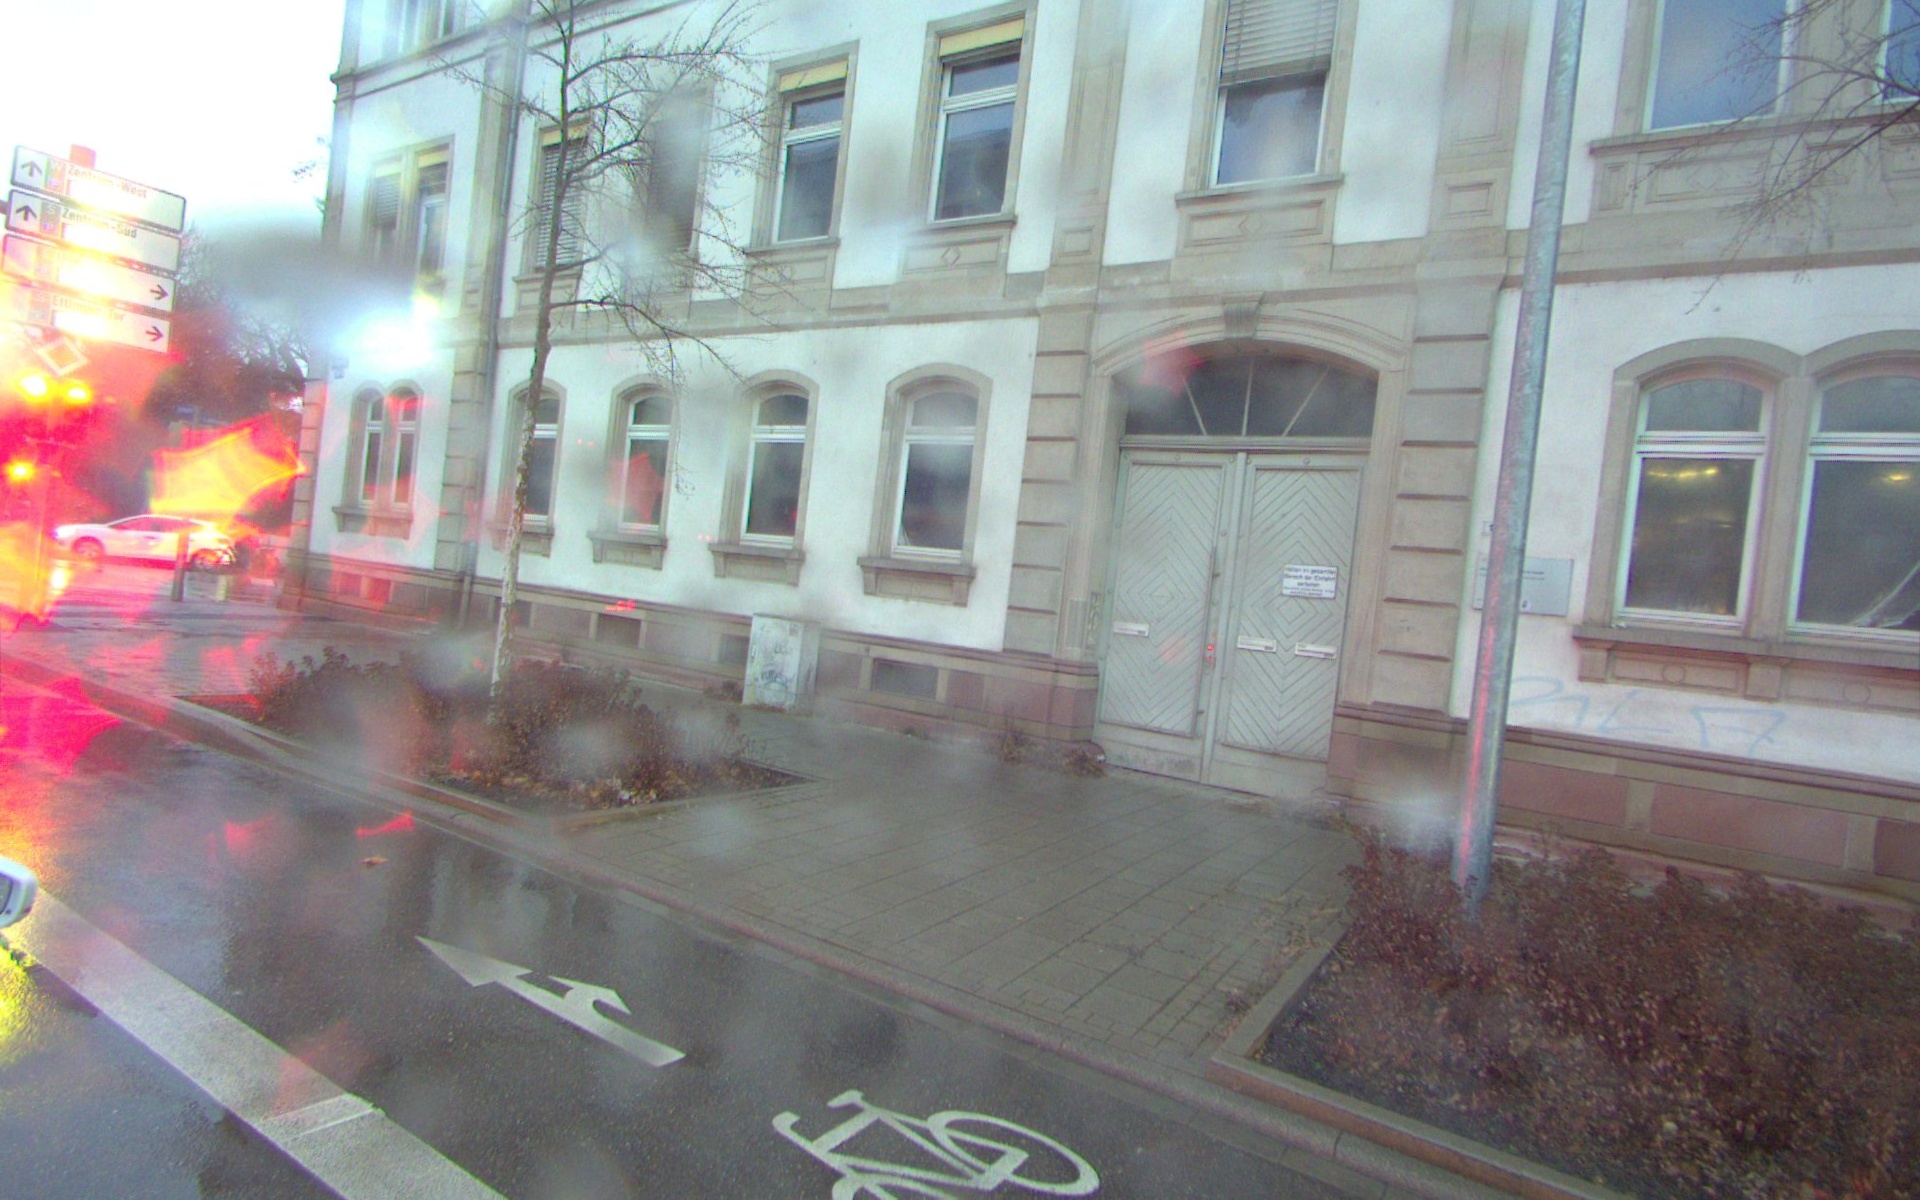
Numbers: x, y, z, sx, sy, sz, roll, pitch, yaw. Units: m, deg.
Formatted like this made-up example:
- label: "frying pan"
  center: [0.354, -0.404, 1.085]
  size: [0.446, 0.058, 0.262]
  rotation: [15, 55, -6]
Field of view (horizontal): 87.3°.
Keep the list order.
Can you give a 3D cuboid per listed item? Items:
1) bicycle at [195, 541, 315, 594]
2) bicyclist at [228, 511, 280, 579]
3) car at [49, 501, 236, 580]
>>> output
- label: "bicycle"
  center: [-19.976, -0.903, 28.558]
  size: [2.656, 1.101, 0.806]
  rotation: [9, -3, -39]
- label: "bicyclist"
  center: [-19.993, -1.544, 28.505]
  size: [0.968, 1.778, 0.805]
  rotation: [8, -2, -39]
- label: "car"
  center: [-23.437, -1.668, 29.052]
  size: [3.936, 1.571, 1.733]
  rotation: [9, -3, -36]
